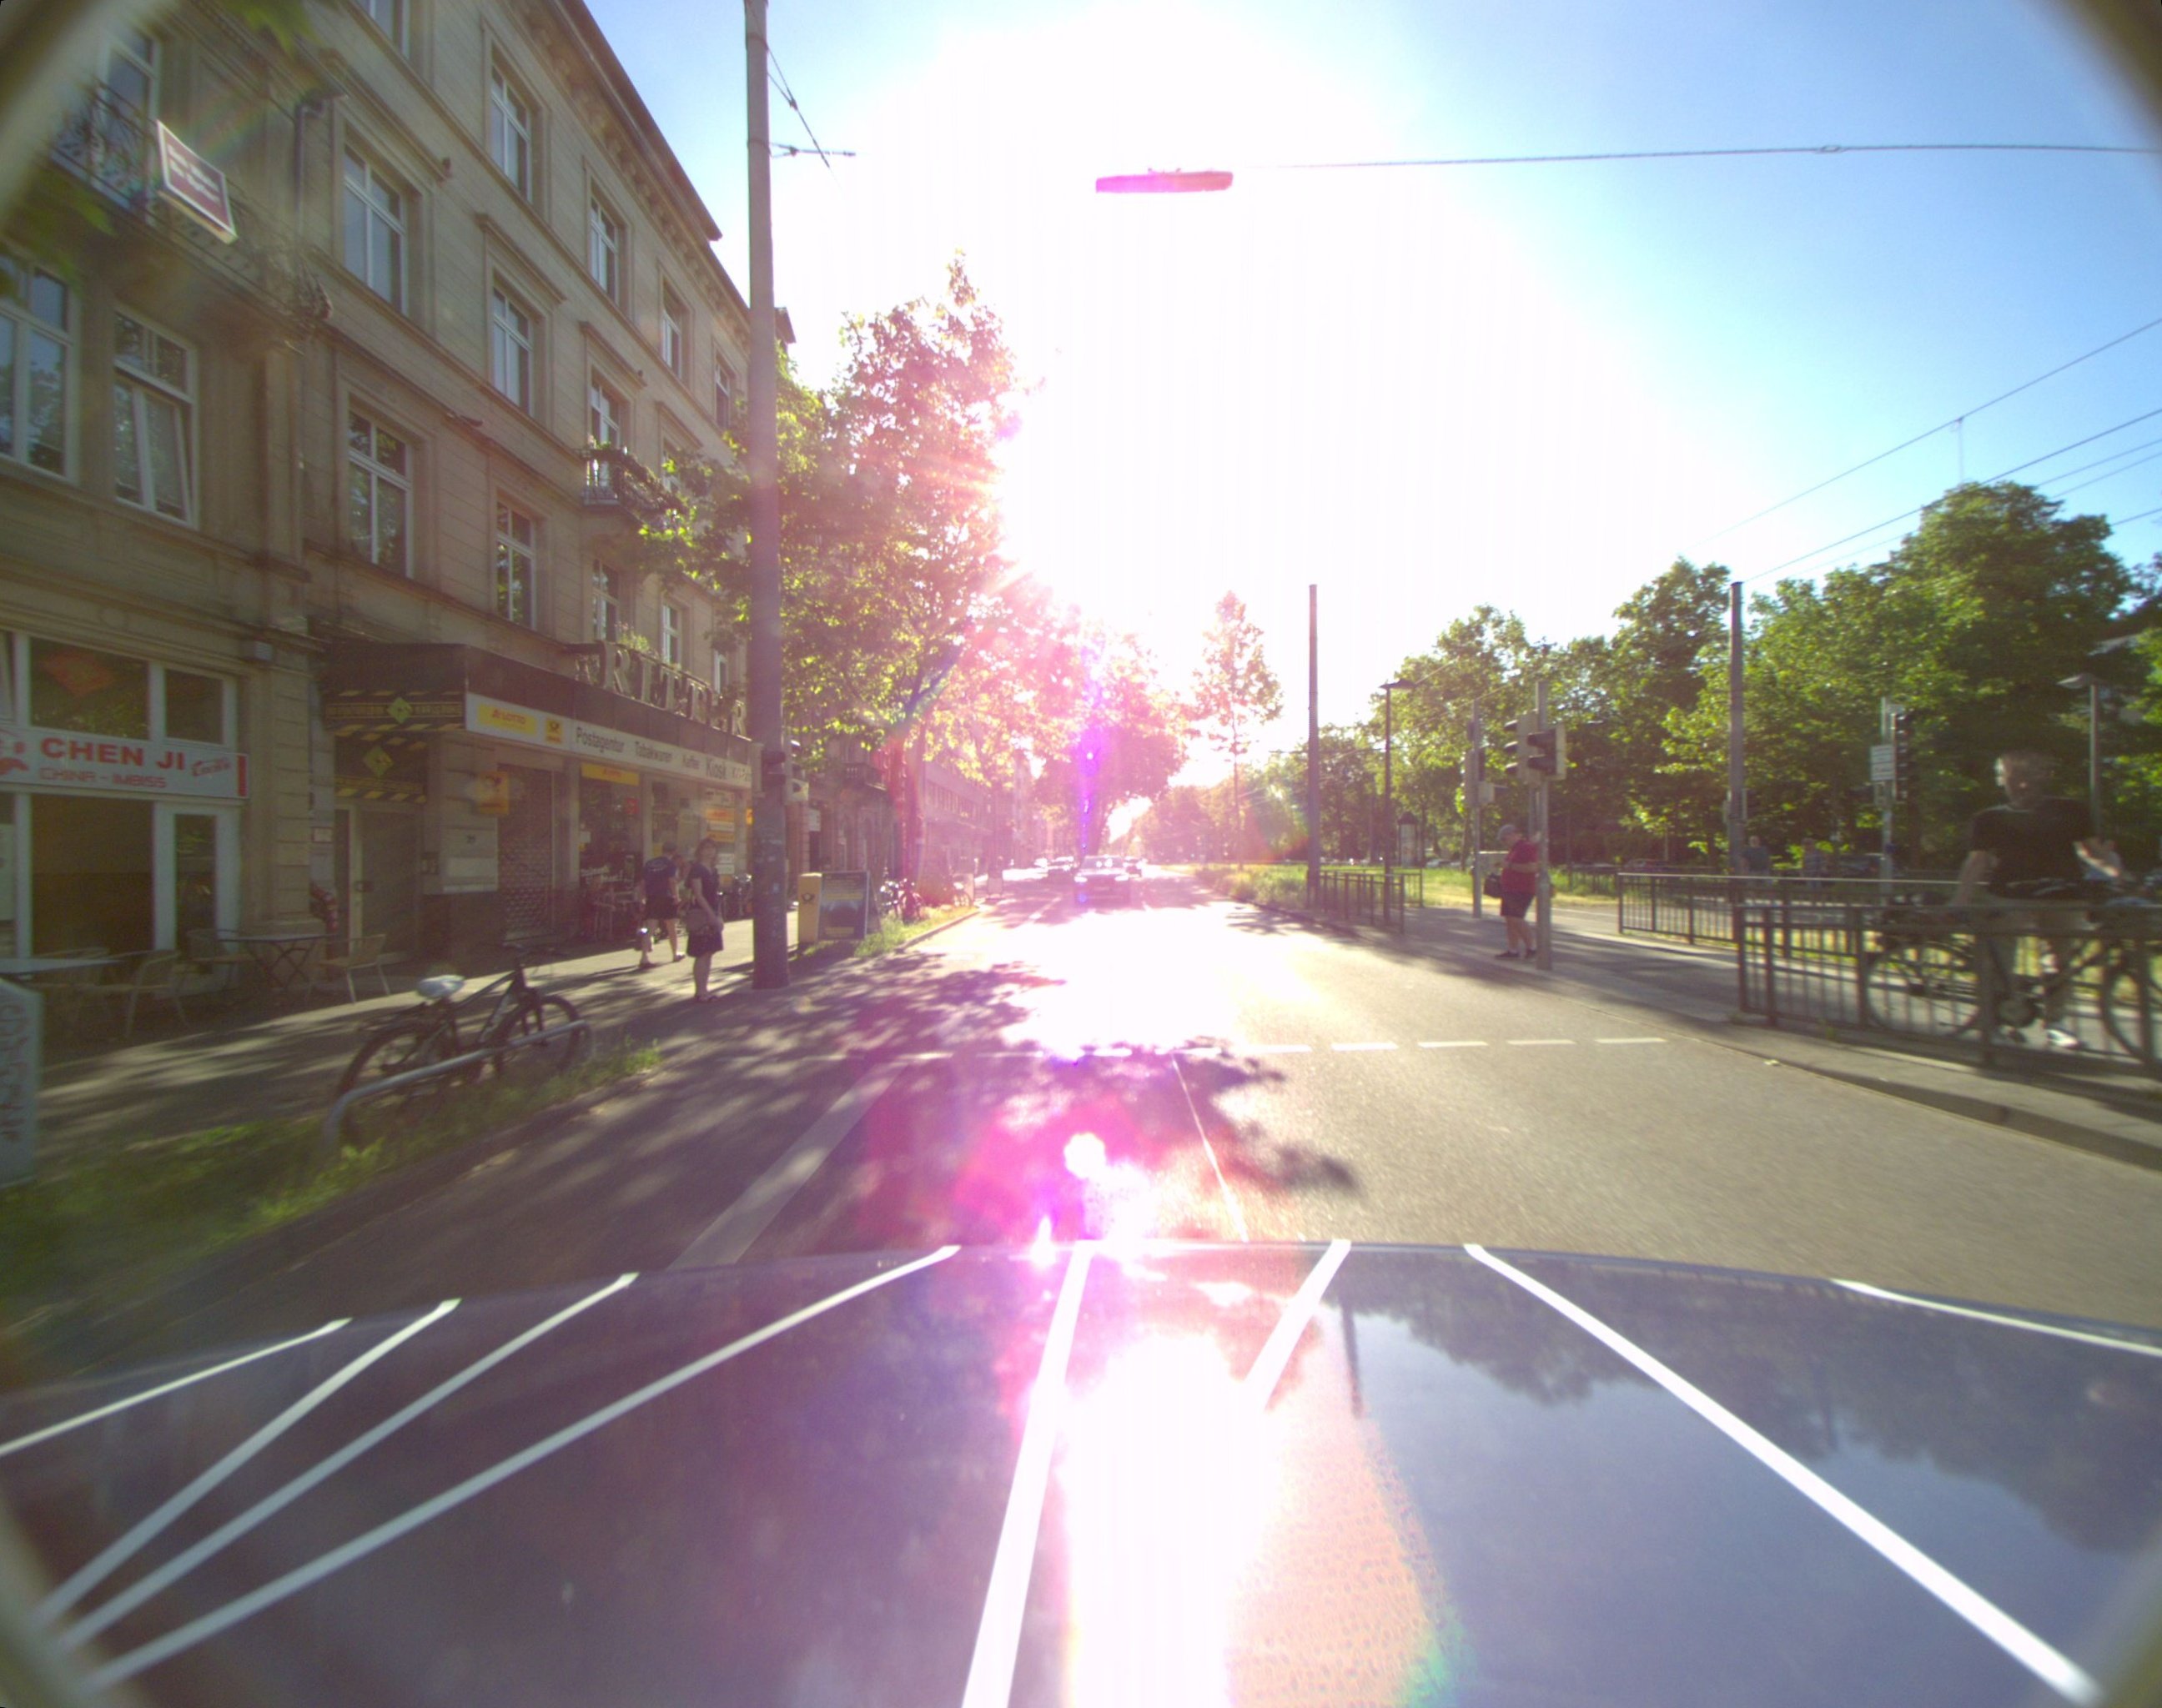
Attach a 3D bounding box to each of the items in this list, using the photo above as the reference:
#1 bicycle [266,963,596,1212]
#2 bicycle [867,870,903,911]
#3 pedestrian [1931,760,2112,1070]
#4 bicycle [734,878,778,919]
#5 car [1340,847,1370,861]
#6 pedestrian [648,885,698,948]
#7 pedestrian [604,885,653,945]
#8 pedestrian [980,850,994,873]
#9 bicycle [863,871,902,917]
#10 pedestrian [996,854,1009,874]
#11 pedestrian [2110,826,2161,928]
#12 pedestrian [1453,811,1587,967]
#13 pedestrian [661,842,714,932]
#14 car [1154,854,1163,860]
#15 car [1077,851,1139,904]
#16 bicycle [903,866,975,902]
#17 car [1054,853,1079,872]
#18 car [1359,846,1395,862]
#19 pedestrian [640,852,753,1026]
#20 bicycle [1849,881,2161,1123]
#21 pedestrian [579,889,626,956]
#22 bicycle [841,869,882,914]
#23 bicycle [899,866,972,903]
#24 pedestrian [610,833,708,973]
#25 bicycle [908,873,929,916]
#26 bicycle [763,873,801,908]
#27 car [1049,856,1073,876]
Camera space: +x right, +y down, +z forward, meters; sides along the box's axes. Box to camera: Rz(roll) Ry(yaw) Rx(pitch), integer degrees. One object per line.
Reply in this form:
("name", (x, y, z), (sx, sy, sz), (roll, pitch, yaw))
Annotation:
("bicycle", (-3.745, 1.272, 4.601), (0.429, 0.964, 1.750), (-2, 0, 1))
("bicycle", (-5.113, 0.934, 19.907), (0.444, 0.987, 1.688), (-2, 0, 0))
("pedestrian", (6.092, 0.371, 4.945), (0.452, 1.891, 0.584), (-1, 1, -6))
("bicycle", (-8.761, 1.180, 20.537), (0.444, 0.987, 1.688), (-2, 0, 0))
("car", (32.024, 0.000, 88.926), (1.999, 1.612, 3.999), (-2, 0, -2))
("pedestrian", (-7.994, 1.215, 14.904), (0.775, 1.154, 0.468), (-2, 0, -24))
("pedestrian", (-9.201, 1.228, 15.473), (0.648, 1.154, 0.610), (-2, 0, -10))
("pedestrian", (-7.567, 0.614, 61.311), (1.002, 1.829, 0.715), (-1, 1, 3))
("bicycle", (-4.709, 0.919, 18.090), (0.444, 0.987, 1.688), (-2, 0, 0))
("pedestrian", (-7.033, 0.916, 67.919), (1.002, 1.750, 0.715), (-2, 0, 1))
("pedestrian", (17.904, 0.367, 12.357), (1.180, 1.634, 0.892), (-1, 1, -6))
("pedestrian", (5.716, 0.435, 9.974), (1.075, 1.905, 1.126), (-1, 1, -1))
("pedestrian", (-8.143, 0.671, 15.724), (0.468, 1.800, 0.775), (-2, 1, 32))
("car", (20.396, 0.715, 200.744), (1.849, 1.521, 3.874), (-2, 0, -1))
("car", (0.879, 0.787, 26.852), (1.969, 1.664, 4.000), (-2, 0, 0))
("bicycle", (-4.233, 0.893, 22.713), (2.009, 0.987, 0.444), (-2, 0, -1))
("car", (-1.244, 0.714, 66.892), (1.810, 1.481, 4.919), (-2, 1, 2))
("car", (32.476, -0.016, 83.435), (1.999, 1.673, 4.513), (-2, 0, -2))
("pedestrian", (-4.114, 0.876, 8.192), (0.643, 1.761, 0.869), (-2, 0, 7))
("bicycle", (5.755, 0.799, 4.553), (0.329, 1.207, 1.828), (-1, 0, -5))
("pedestrian", (-8.823, 1.236, 14.005), (0.653, 1.154, 0.672), (-2, 0, -35))
("bicycle", (-5.202, 0.862, 18.071), (0.444, 0.987, 1.688), (-2, 0, 0))
("bicycle", (-4.241, 0.889, 22.210), (2.019, 0.987, 0.444), (-2, 0, -1))
("pedestrian", (-6.323, 0.714, 11.434), (0.884, 2.002, 0.857), (-2, 0, 5))
("bicycle", (-4.096, 0.994, 19.129), (0.444, 0.987, 1.687), (-2, 0, -13))
("bicycle", (-9.137, 1.090, 23.274), (0.444, 0.987, 1.688), (-2, 0, 0))
("car", (-1.499, 0.891, 59.510), (1.705, 1.416, 4.516), (-2, 0, 0))
